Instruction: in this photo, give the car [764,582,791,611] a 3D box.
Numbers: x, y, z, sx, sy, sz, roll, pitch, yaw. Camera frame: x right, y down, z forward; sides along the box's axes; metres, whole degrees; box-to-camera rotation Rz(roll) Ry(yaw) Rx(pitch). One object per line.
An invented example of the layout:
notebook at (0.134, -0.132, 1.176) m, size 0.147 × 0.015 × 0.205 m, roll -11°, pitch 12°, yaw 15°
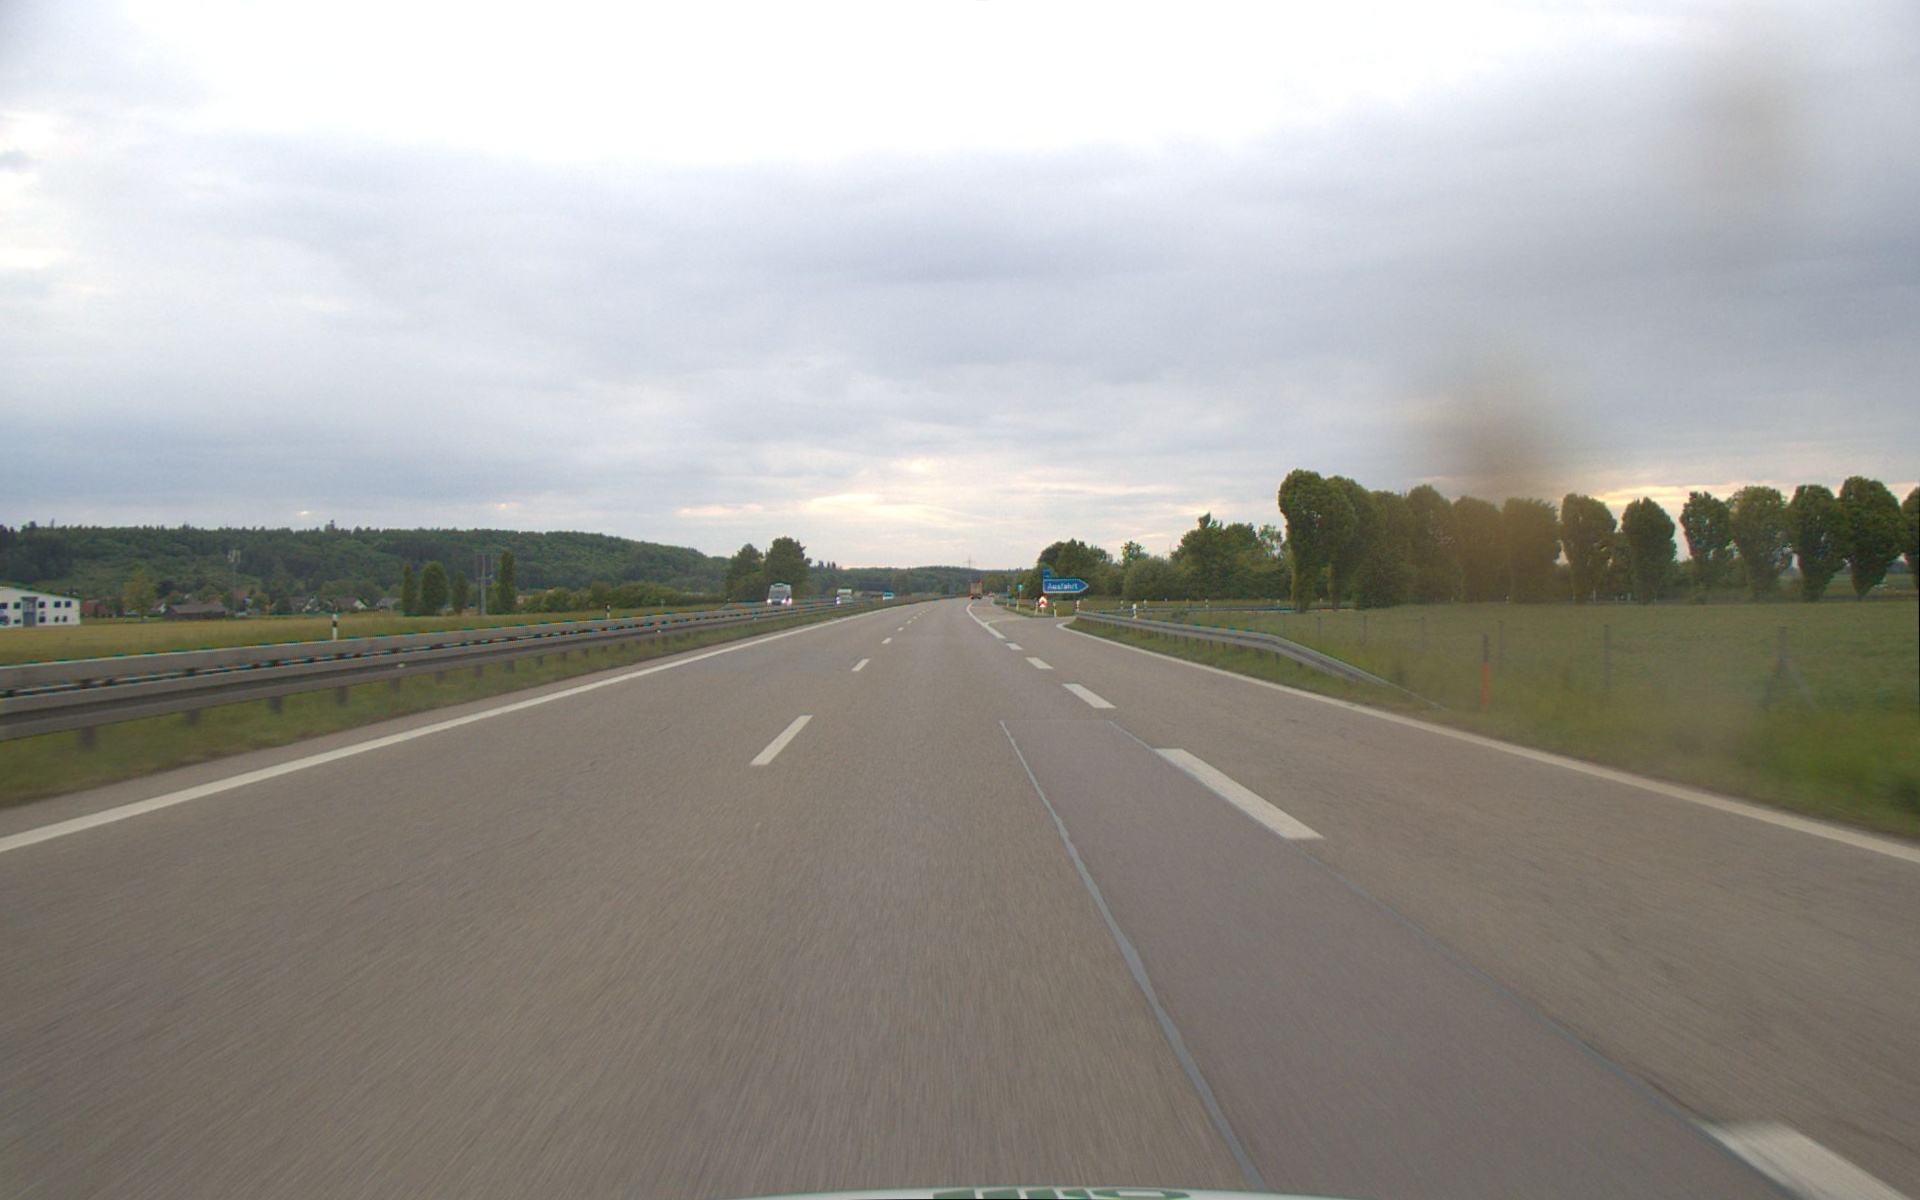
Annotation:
car at (-18.570, -0.339, 168.858) m, size 2.063 × 2.849 × 6.427 m, roll 1°, pitch 0°, yaw 0°
